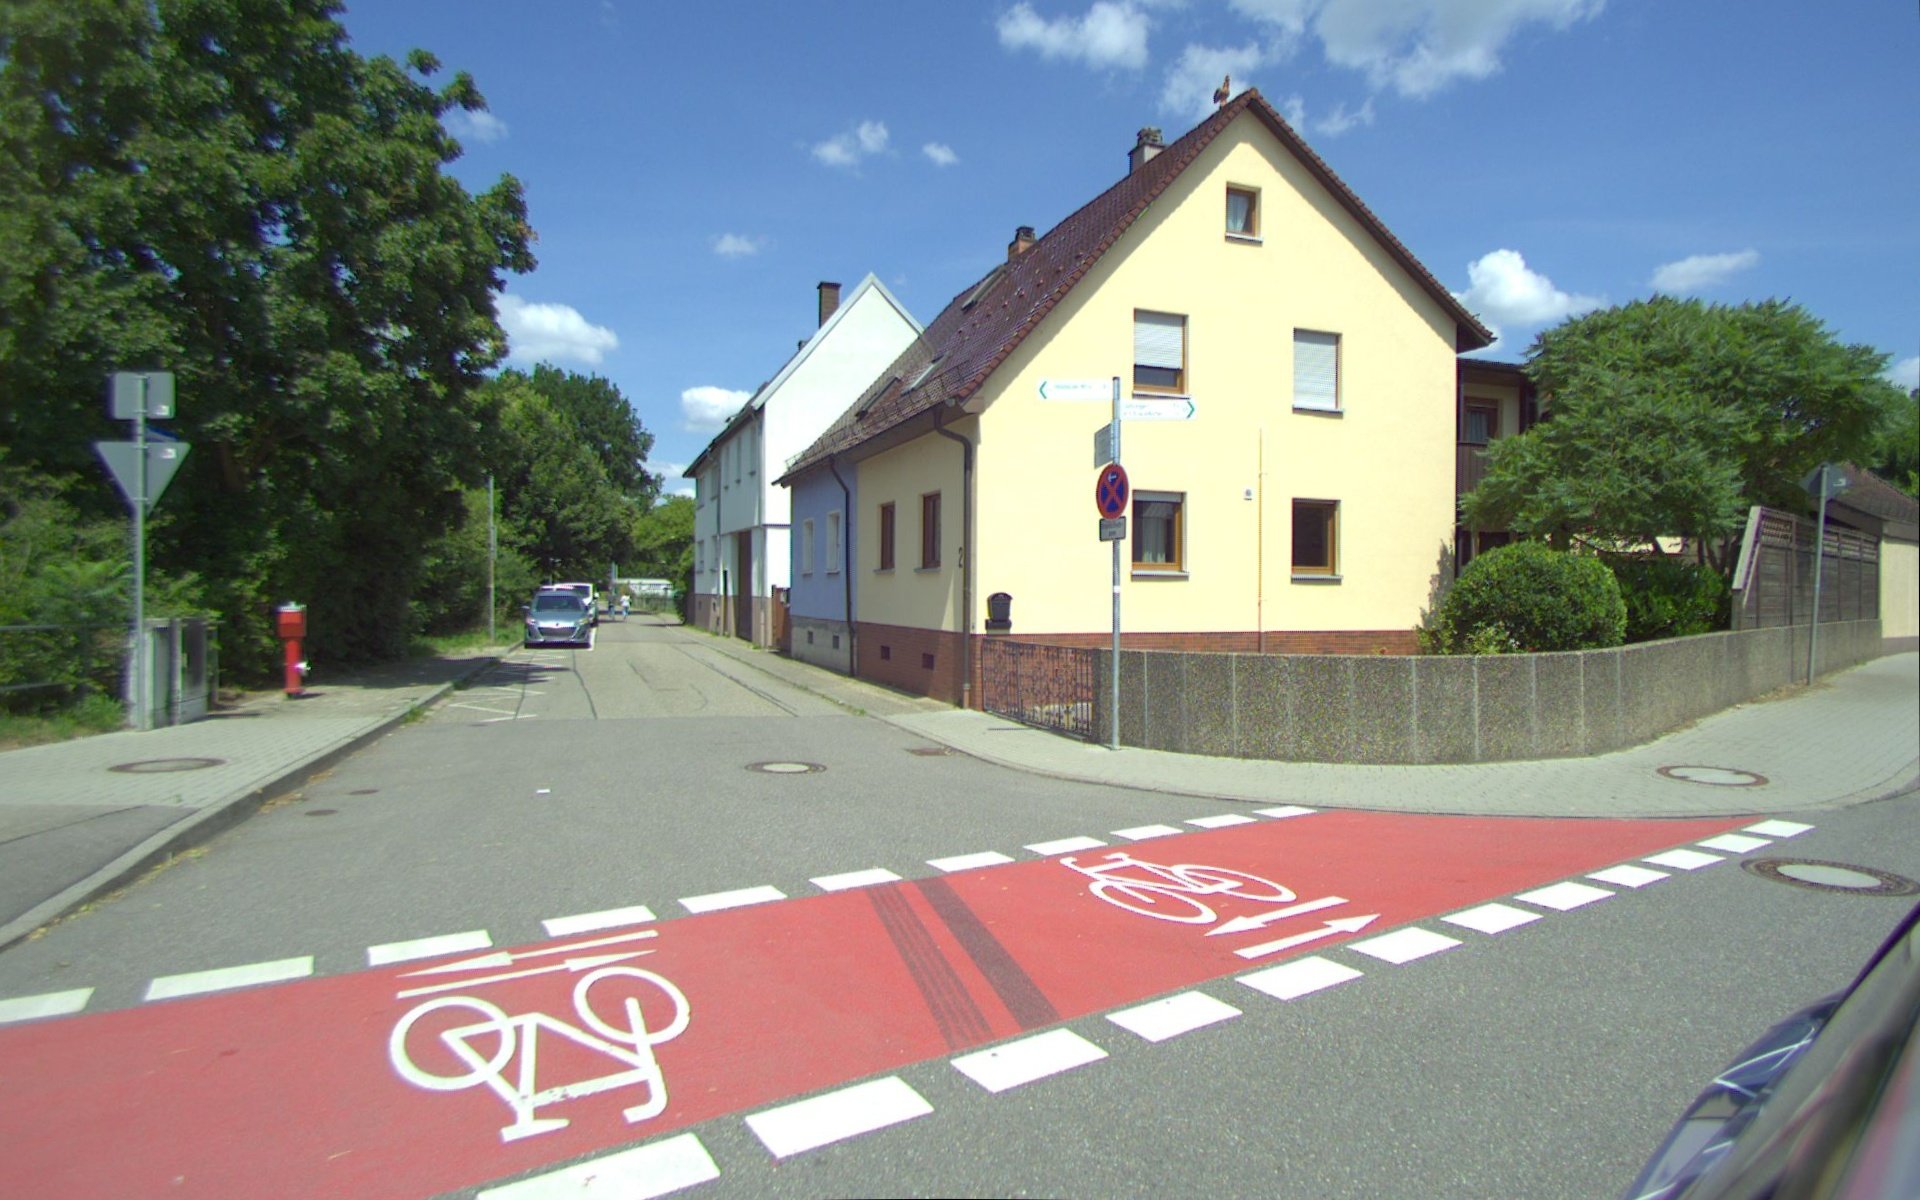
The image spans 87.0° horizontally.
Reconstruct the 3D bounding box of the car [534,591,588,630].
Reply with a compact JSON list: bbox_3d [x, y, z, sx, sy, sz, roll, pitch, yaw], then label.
[{"bbox_3d":[-16.084,0.393,40.704,1.787,1.484,4.007,0,0,-25],"label":"car"}]

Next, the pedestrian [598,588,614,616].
[{"bbox_3d":[-20.797,0.133,59.497,0.777,1.638,0.690,0,0,-32],"label":"pedestrian"}]

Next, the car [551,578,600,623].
[{"bbox_3d":[-17.422,-0.002,45.782,1.787,1.946,4.007,0,0,-25],"label":"car"}]

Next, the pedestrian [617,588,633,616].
[{"bbox_3d":[-19.892,0.113,60.088,0.777,1.638,0.690,0,0,-32],"label":"pedestrian"}]

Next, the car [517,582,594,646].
[{"bbox_3d":[-11.808,0.349,29.423,1.788,1.718,4.266,0,0,-26],"label":"car"}]
